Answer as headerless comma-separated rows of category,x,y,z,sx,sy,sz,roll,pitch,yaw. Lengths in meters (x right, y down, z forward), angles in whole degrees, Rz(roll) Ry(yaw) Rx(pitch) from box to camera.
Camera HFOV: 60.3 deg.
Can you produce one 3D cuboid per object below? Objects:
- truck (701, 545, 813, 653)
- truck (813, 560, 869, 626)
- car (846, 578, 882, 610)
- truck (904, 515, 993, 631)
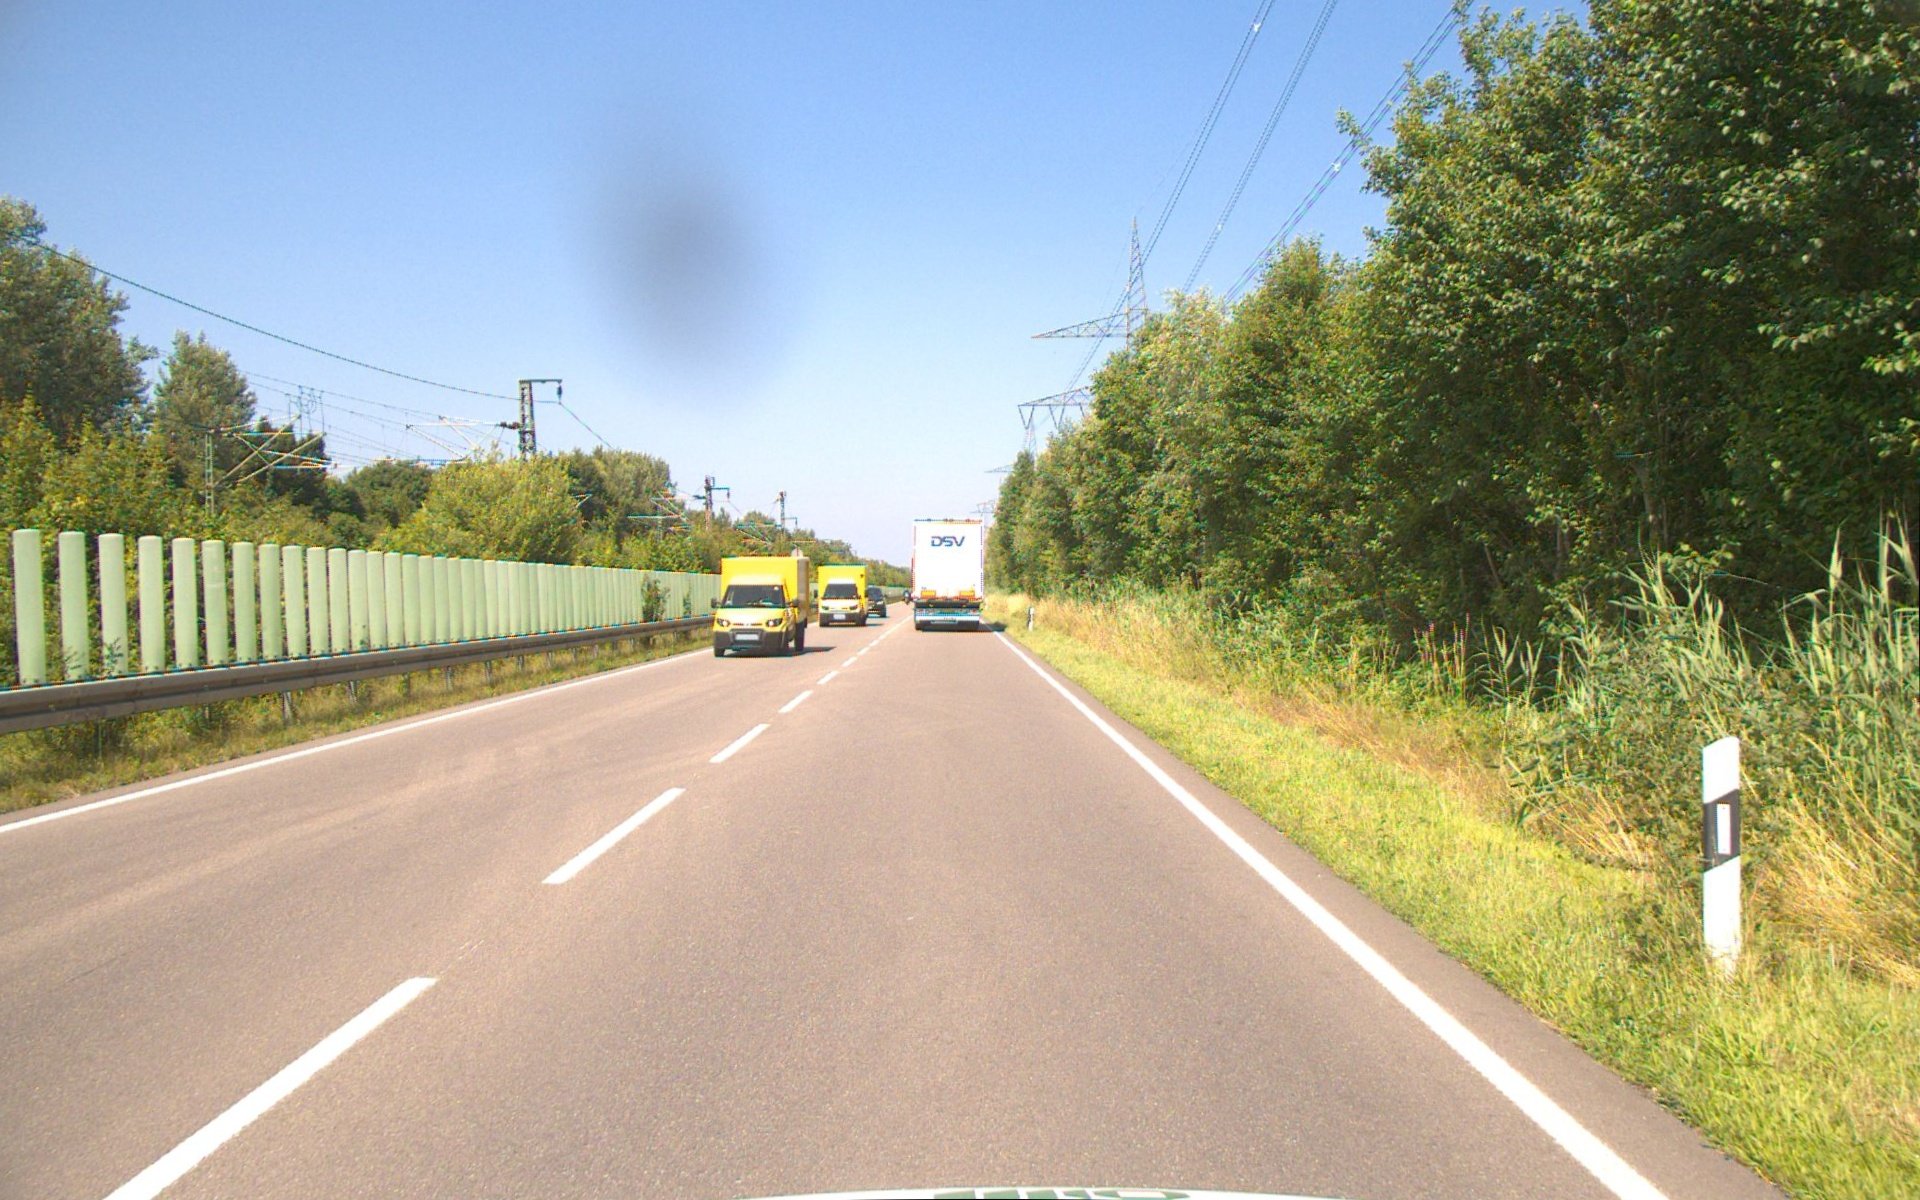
truck,-4.780,-0.038,39.705,1.953,2.389,6.011,0,0,0
truck,-4.958,-0.310,69.740,2.038,2.693,5.703,0,0,-1
car,-5.371,-0.333,93.127,1.777,1.723,4.705,0,0,-1
truck,-0.521,-0.996,64.742,3.127,4.113,12.004,0,0,-1
